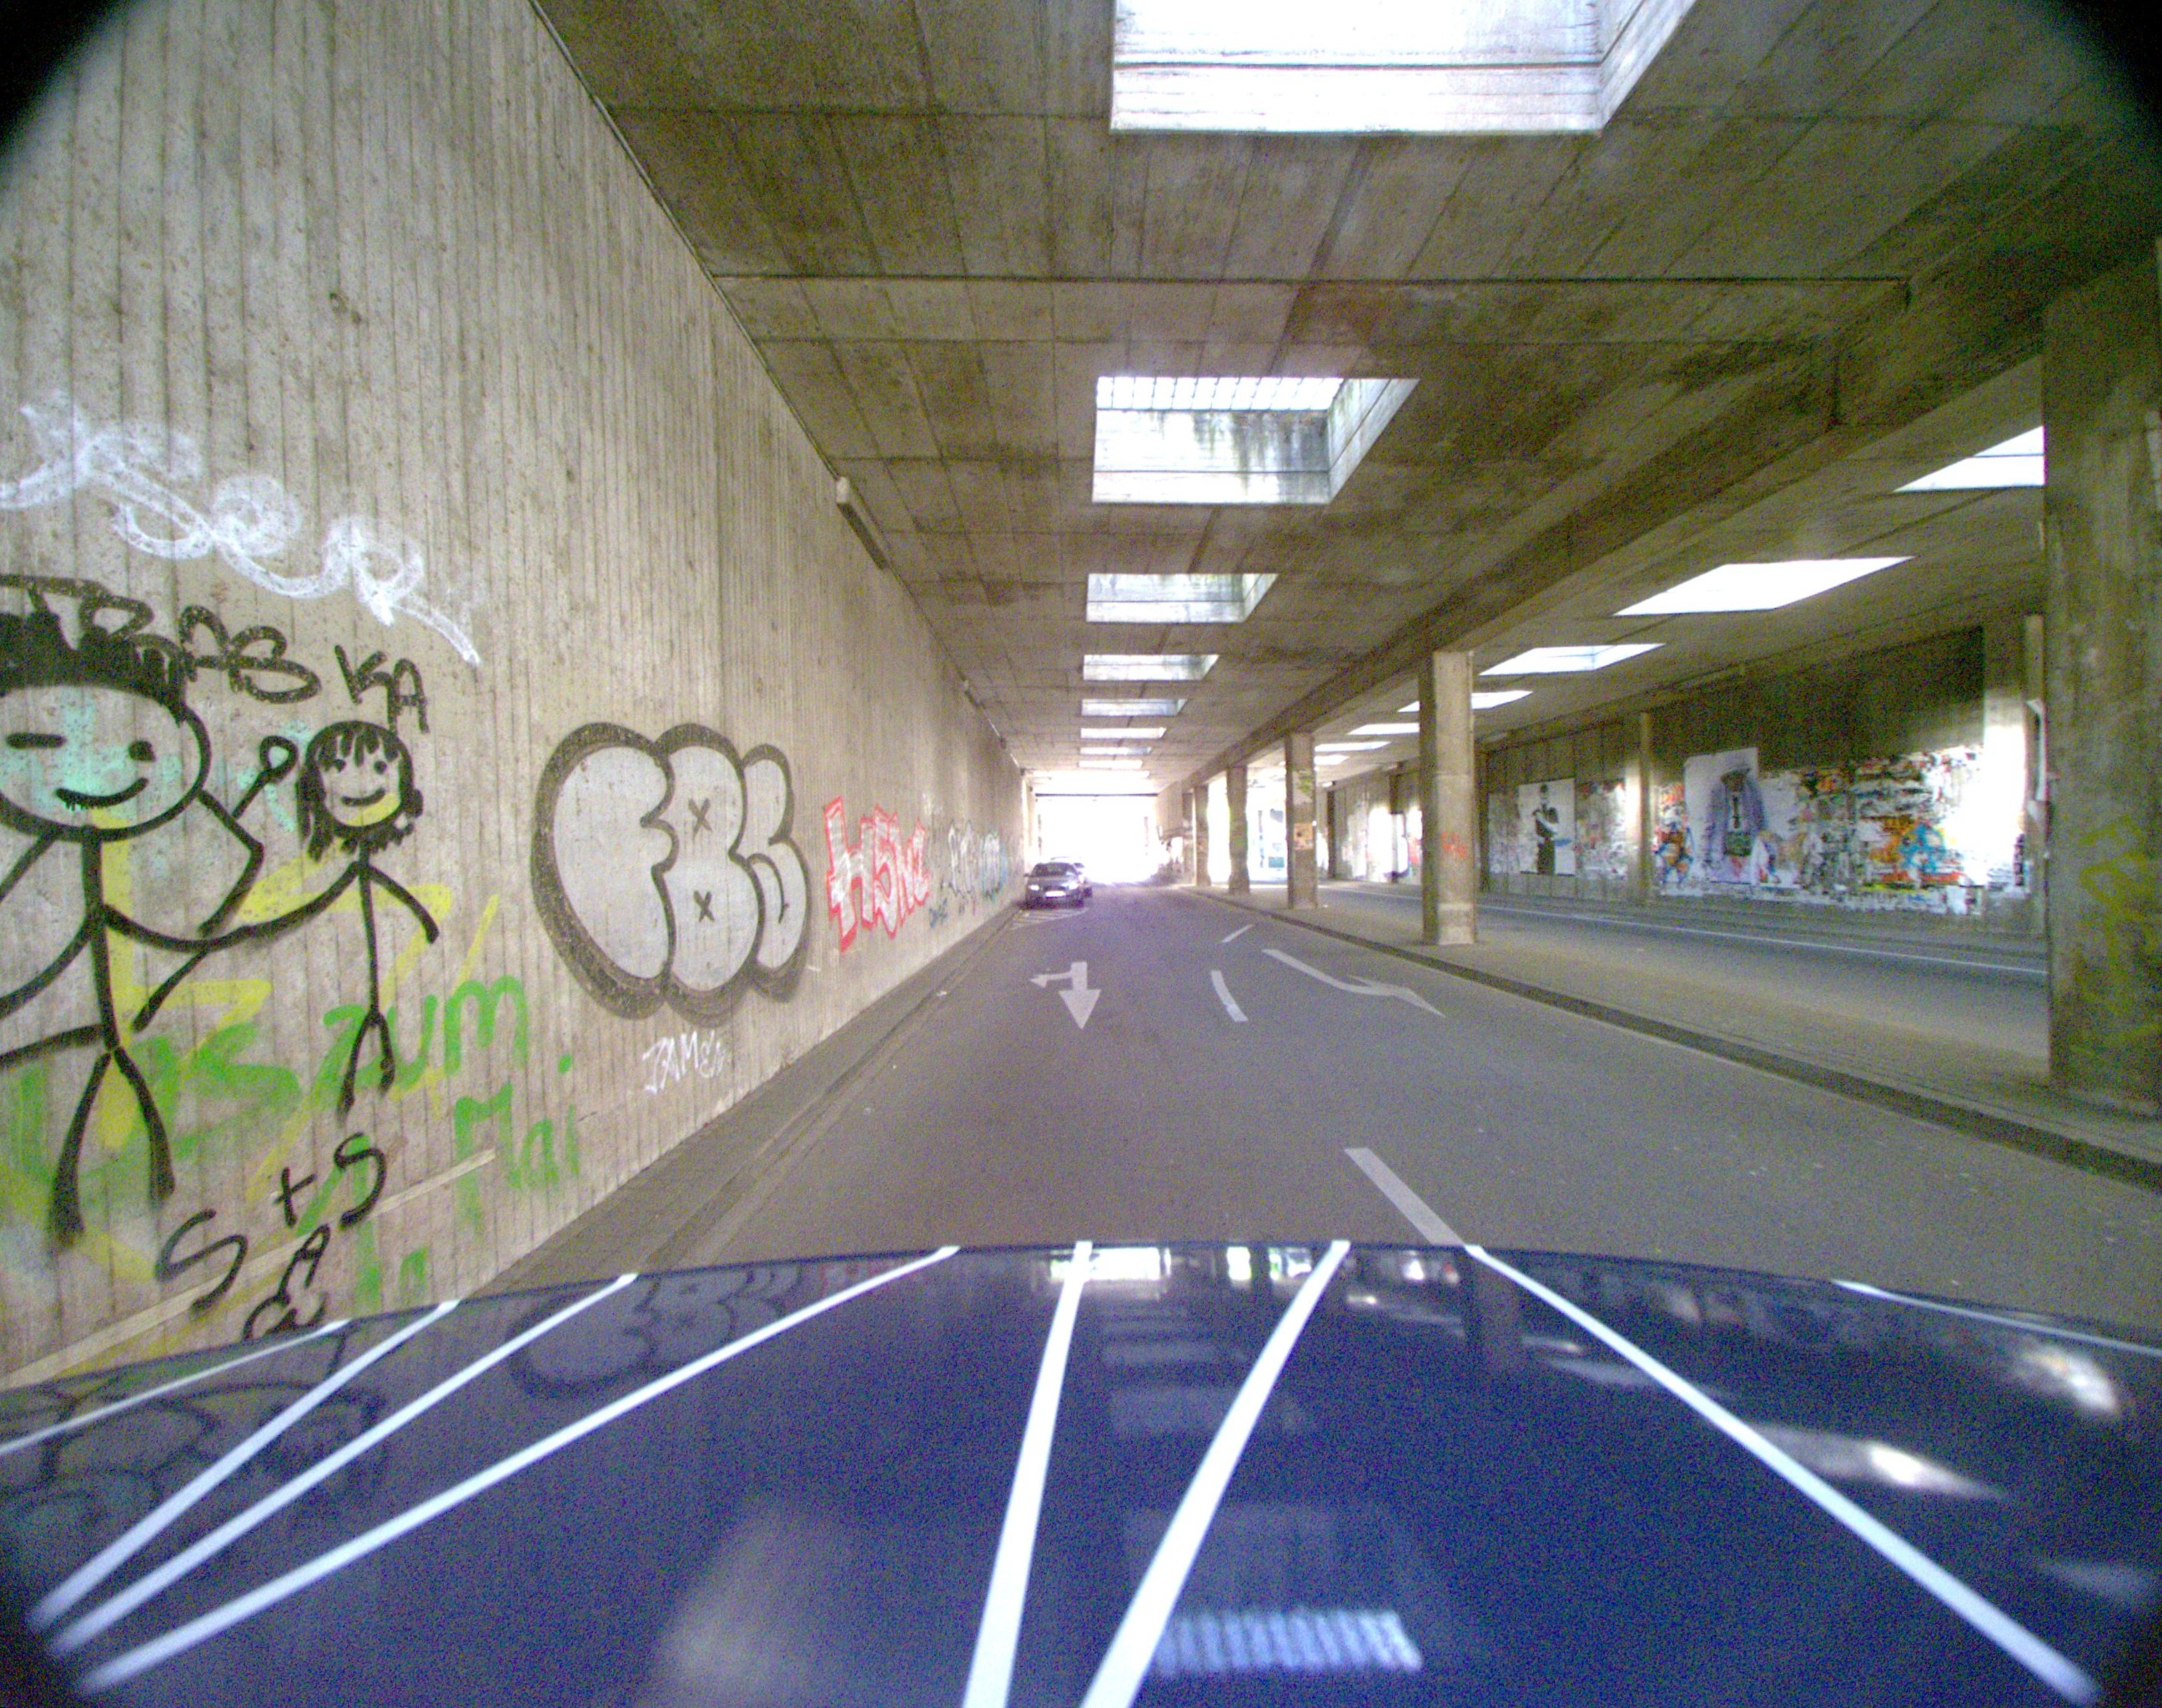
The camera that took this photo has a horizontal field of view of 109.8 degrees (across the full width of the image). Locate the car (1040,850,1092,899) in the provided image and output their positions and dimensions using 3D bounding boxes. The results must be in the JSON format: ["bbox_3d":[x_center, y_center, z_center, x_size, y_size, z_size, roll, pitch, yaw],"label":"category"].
[{"bbox_3d":[-0.523,0.752,29.776,1.861,1.709,4.000,-2,0,1],"label":"car"}]

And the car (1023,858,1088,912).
[{"bbox_3d":[-0.727,0.904,24.050,1.808,1.460,4.000,-2,0,1],"label":"car"}]
